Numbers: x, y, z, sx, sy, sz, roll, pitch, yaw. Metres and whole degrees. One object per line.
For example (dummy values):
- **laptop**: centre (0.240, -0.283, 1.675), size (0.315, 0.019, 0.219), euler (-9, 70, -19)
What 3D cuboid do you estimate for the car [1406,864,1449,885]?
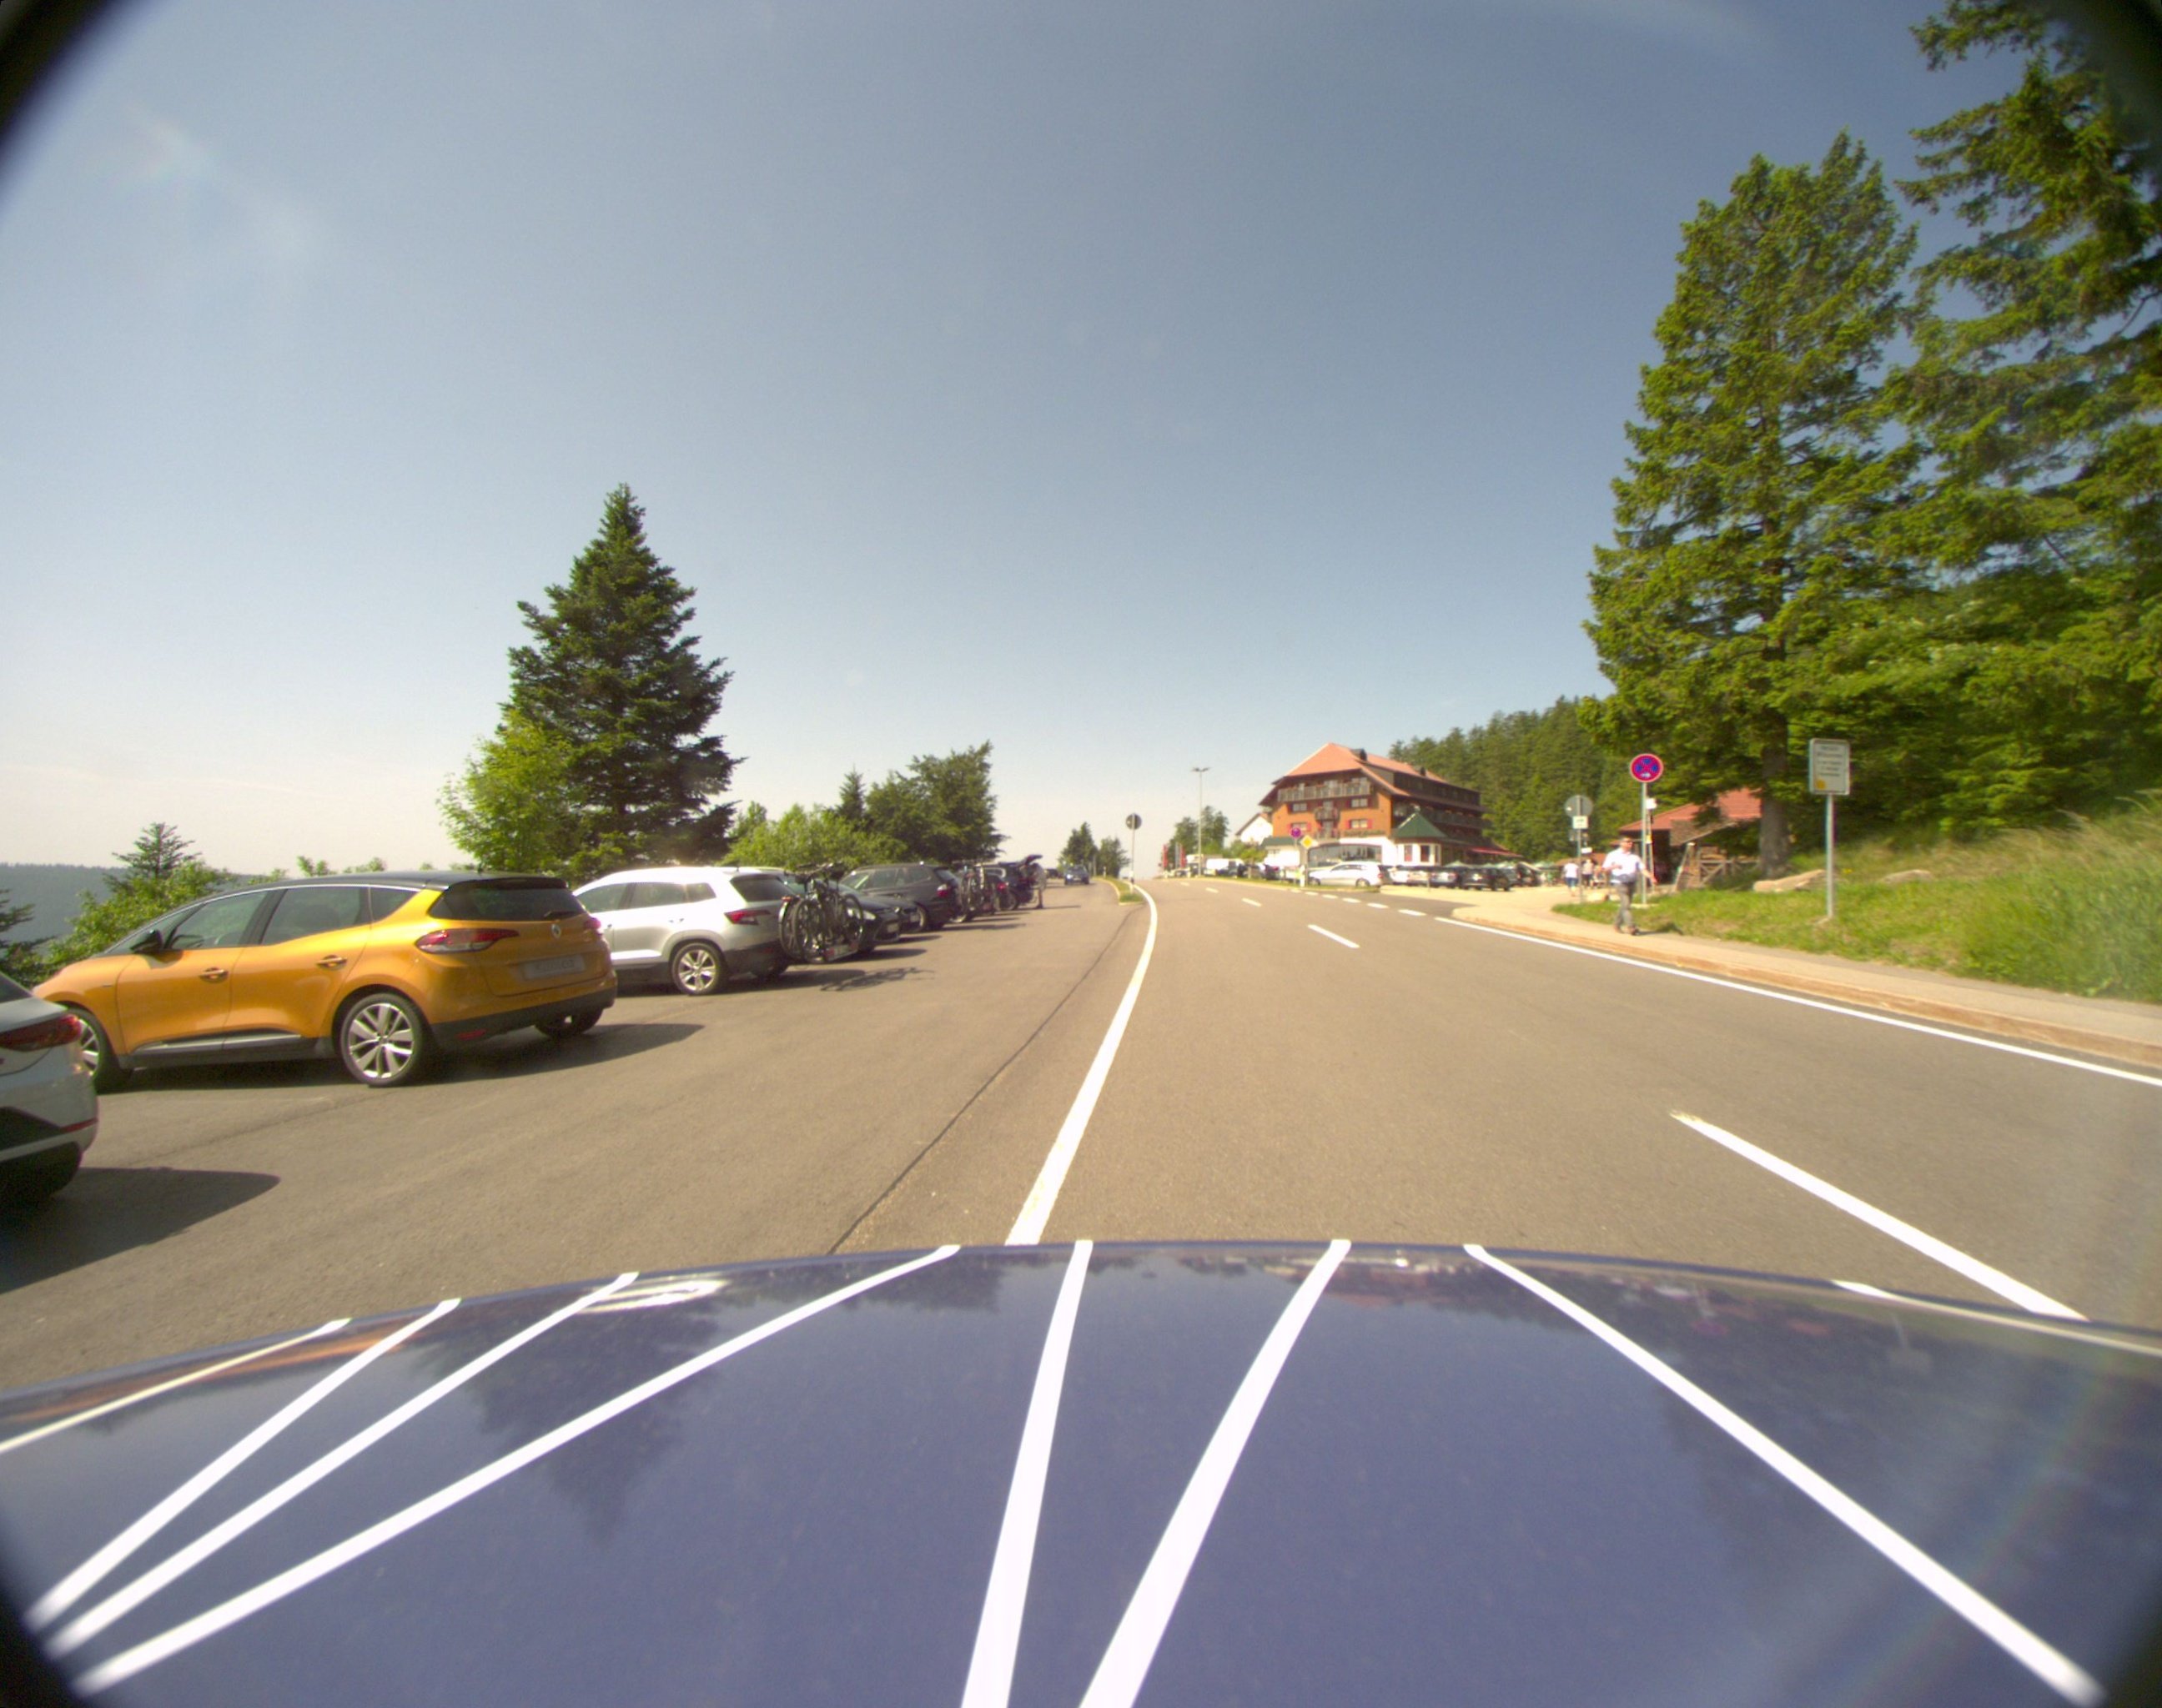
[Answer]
- **car**: centre (23.331, 1.363, 51.104), size (1.636, 1.425, 3.323), euler (-1, -1, 43)

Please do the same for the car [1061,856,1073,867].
- **car**: centre (-2.545, 1.376, 138.513), size (1.952, 1.970, 4.069), euler (-1, 0, -4)

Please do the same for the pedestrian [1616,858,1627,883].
- **pedestrian**: centre (35.060, 1.069, 49.305), size (0.521, 1.613, 0.538), euler (-1, 0, 40)

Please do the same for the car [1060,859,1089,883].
- **car**: centre (-0.449, 1.204, 55.052), size (1.999, 1.537, 4.000), euler (-2, 0, 0)

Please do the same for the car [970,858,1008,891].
- **car**: centre (-5.400, 1.172, 45.021), size (1.866, 1.830, 3.882), euler (-2, 0, -3)

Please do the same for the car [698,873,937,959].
- **car**: centre (-5.410, 1.262, 15.822), size (4.321, 1.423, 1.691), euler (-4, -1, 8)

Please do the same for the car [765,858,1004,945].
- **car**: centre (-4.647, 1.112, 18.378), size (5.111, 1.610, 2.001), euler (-5, 0, 6)

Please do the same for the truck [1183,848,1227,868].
- **truck**: centre (19.706, 0.579, 120.027), size (2.862, 2.813, 8.779), euler (-1, 0, 38)

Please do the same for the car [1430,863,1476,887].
- **car**: centre (23.431, 1.320, 47.849), size (1.714, 1.425, 3.323), euler (-1, -1, 43)

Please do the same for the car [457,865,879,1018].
- **car**: centre (-5.275, 1.082, 10.109), size (4.485, 1.617, 2.014), euler (-3, 0, 5)

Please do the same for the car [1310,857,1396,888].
- **car**: centre (14.737, 0.994, 41.264), size (3.952, 1.578, 1.794), euler (-1, 0, 42)

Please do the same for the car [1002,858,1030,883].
- **car**: centre (-4.951, 1.234, 57.776), size (1.999, 1.733, 3.998), euler (-2, 0, -6)

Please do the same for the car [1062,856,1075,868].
- **car**: centre (-2.227, 1.347, 133.075), size (1.999, 2.002, 3.999), euler (-2, 0, -3)

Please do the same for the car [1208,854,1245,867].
- **car**: centre (21.556, 0.985, 112.767), size (5.247, 1.894, 2.002), euler (-1, 0, 10)

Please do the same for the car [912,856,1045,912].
- **car**: centre (-3.599, 1.047, 27.225), size (4.322, 1.811, 2.001), euler (-2, 0, 5)

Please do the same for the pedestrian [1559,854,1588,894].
- **pedestrian**: centre (21.769, 0.855, 33.565), size (0.638, 1.731, 0.910), euler (-1, 0, -41)

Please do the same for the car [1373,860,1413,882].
- **car**: centre (23.606, 1.255, 57.401), size (3.141, 1.543, 1.710), euler (-1, 0, -45)

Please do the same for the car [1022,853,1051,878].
- **car**: centre (-3.756, 0.977, 63.687), size (2.000, 2.002, 3.997), euler (-1, 0, -8)

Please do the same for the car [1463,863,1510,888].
- **car**: centre (24.071, 1.257, 45.060), size (1.708, 1.387, 3.323), euler (-1, -1, 43)

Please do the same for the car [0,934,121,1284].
- **car**: centre (-6.507, 1.203, 2.979), size (3.890, 1.412, 1.614), euler (-3, 1, 9)

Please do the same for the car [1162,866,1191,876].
- **car**: centre (14.022, 2.511, 111.483), size (3.996, 1.402, 2.000), euler (-2, 0, 2)

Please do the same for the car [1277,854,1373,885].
- **car**: centre (15.248, 0.967, 47.651), size (5.349, 1.858, 2.004), euler (-1, 0, 37)

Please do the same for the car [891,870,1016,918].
- **car**: centre (-4.014, 1.270, 24.398), size (3.683, 1.343, 1.738), euler (-2, 0, -1)

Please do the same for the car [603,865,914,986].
- **car**: centre (-5.312, 1.155, 12.817), size (4.428, 1.609, 1.753), euler (-4, 0, 6)

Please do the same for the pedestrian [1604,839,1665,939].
- **pedestrian**: centre (9.819, 0.607, 13.505), size (0.580, 1.731, 0.687), euler (-1, 0, 2)

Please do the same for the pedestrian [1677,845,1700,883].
- **pedestrian**: centre (32.471, 0.520, 40.605), size (0.894, 2.002, 0.789), euler (-1, 1, 44)

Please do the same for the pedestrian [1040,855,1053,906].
- **pedestrian**: centre (-1.253, 0.947, 27.603), size (0.367, 1.812, 0.549), euler (-1, 0, 4)

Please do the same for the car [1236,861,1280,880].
- **car**: centre (15.551, 1.422, 66.772), size (1.719, 1.583, 3.325), euler (-1, 0, -41)

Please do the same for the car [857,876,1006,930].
- **car**: centre (-4.100, 1.331, 21.129), size (3.707, 1.260, 1.565), euler (-3, -1, 5)

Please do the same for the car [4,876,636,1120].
- **car**: centre (-6.225, 1.127, 6.461), size (3.885, 1.606, 1.711), euler (-4, 0, 7)

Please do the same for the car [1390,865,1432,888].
- **car**: centre (23.679, 1.579, 54.408), size (1.727, 1.457, 3.528), euler (-1, 0, 42)

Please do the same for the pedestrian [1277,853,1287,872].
- **pedestrian**: centre (17.924, 0.777, 67.623), size (0.779, 1.689, 0.684), euler (-1, 0, 8)
